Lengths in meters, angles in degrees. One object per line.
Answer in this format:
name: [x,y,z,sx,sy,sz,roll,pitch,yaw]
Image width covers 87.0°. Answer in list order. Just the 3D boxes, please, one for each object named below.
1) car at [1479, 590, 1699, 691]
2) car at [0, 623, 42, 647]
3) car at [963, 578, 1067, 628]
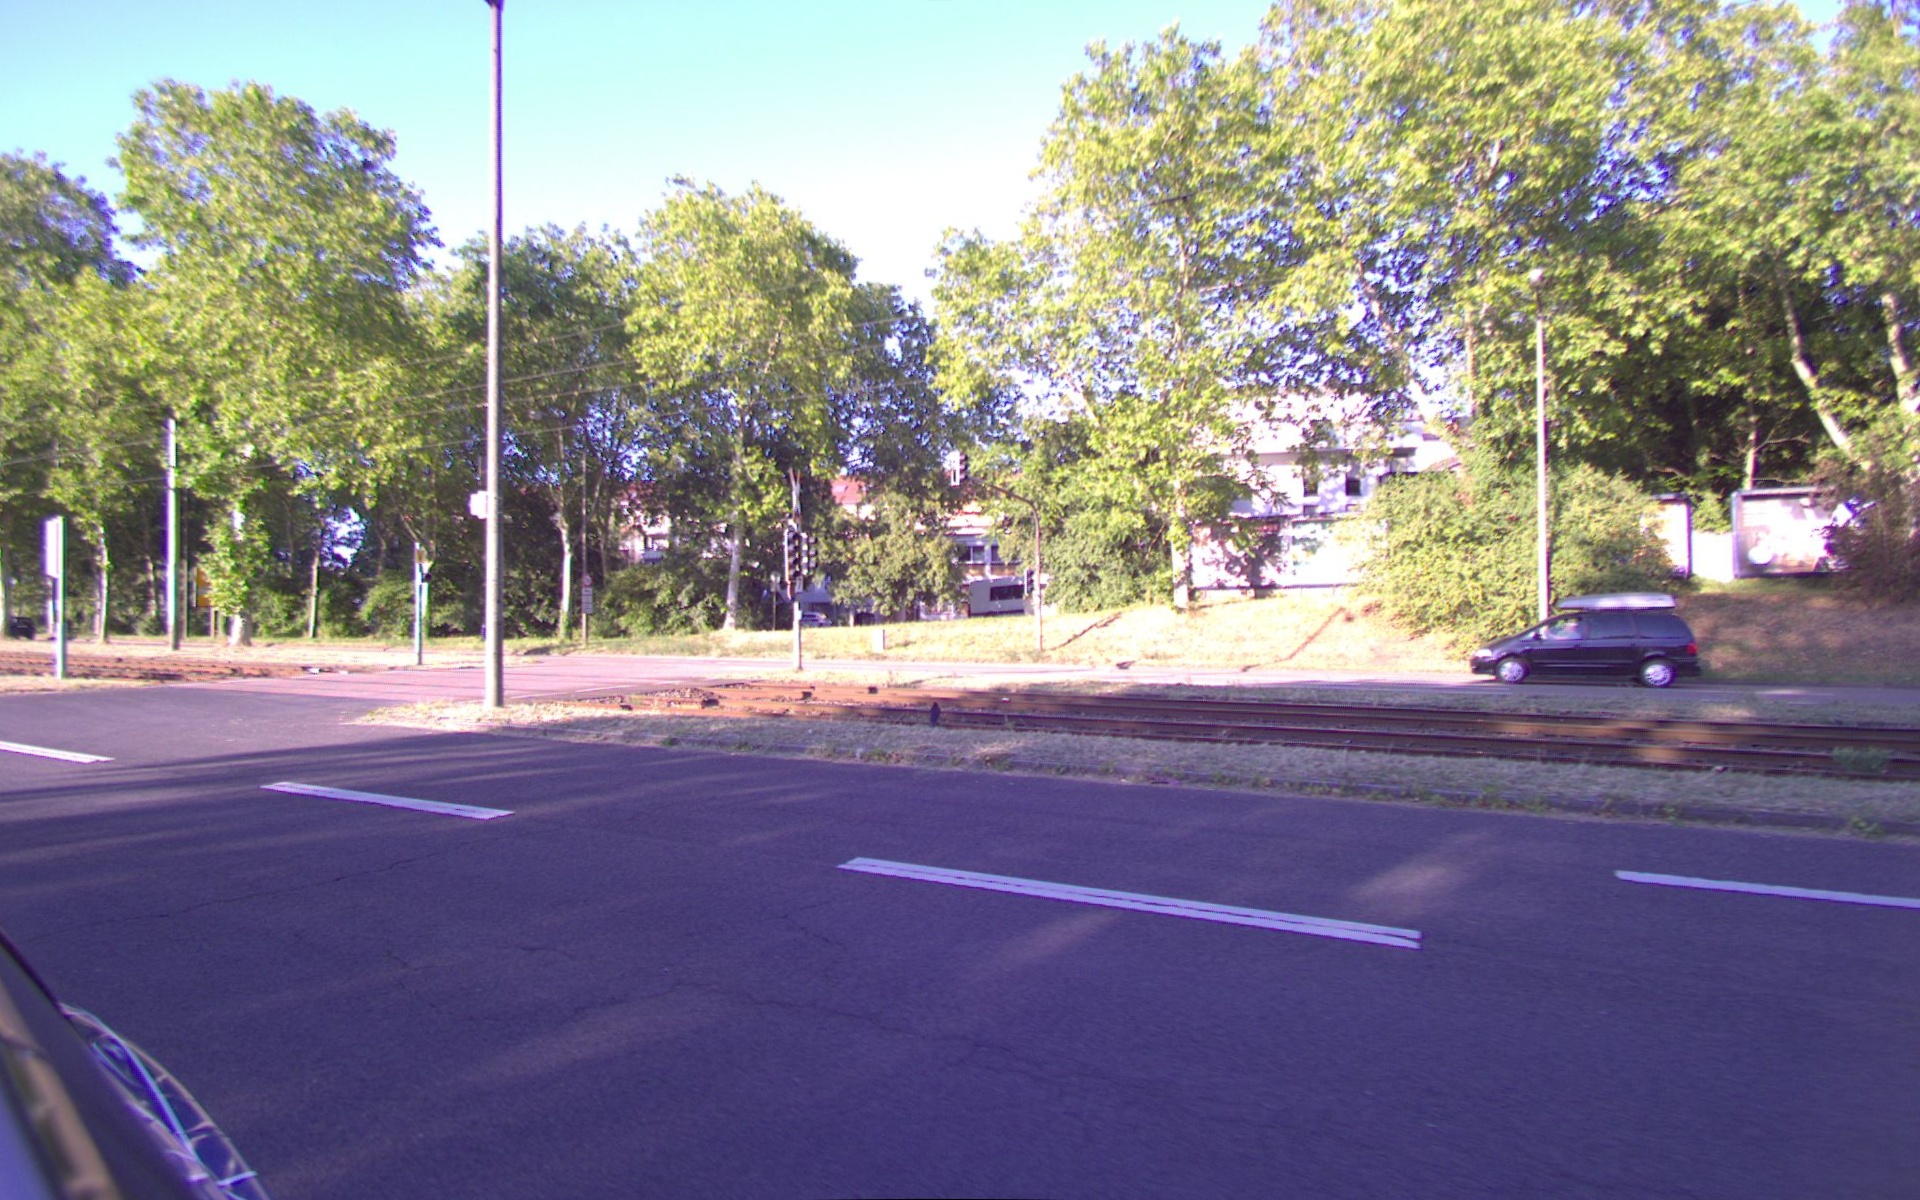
car: [14.539,0.938,23.706,4.172,2.179,1.980,-1,-3,29]
car: [-58.577,2.170,62.377,3.965,1.453,1.615,-1,-3,28]
car: [2.993,0.215,55.734,5.610,2.532,1.787,-2,-3,32]
